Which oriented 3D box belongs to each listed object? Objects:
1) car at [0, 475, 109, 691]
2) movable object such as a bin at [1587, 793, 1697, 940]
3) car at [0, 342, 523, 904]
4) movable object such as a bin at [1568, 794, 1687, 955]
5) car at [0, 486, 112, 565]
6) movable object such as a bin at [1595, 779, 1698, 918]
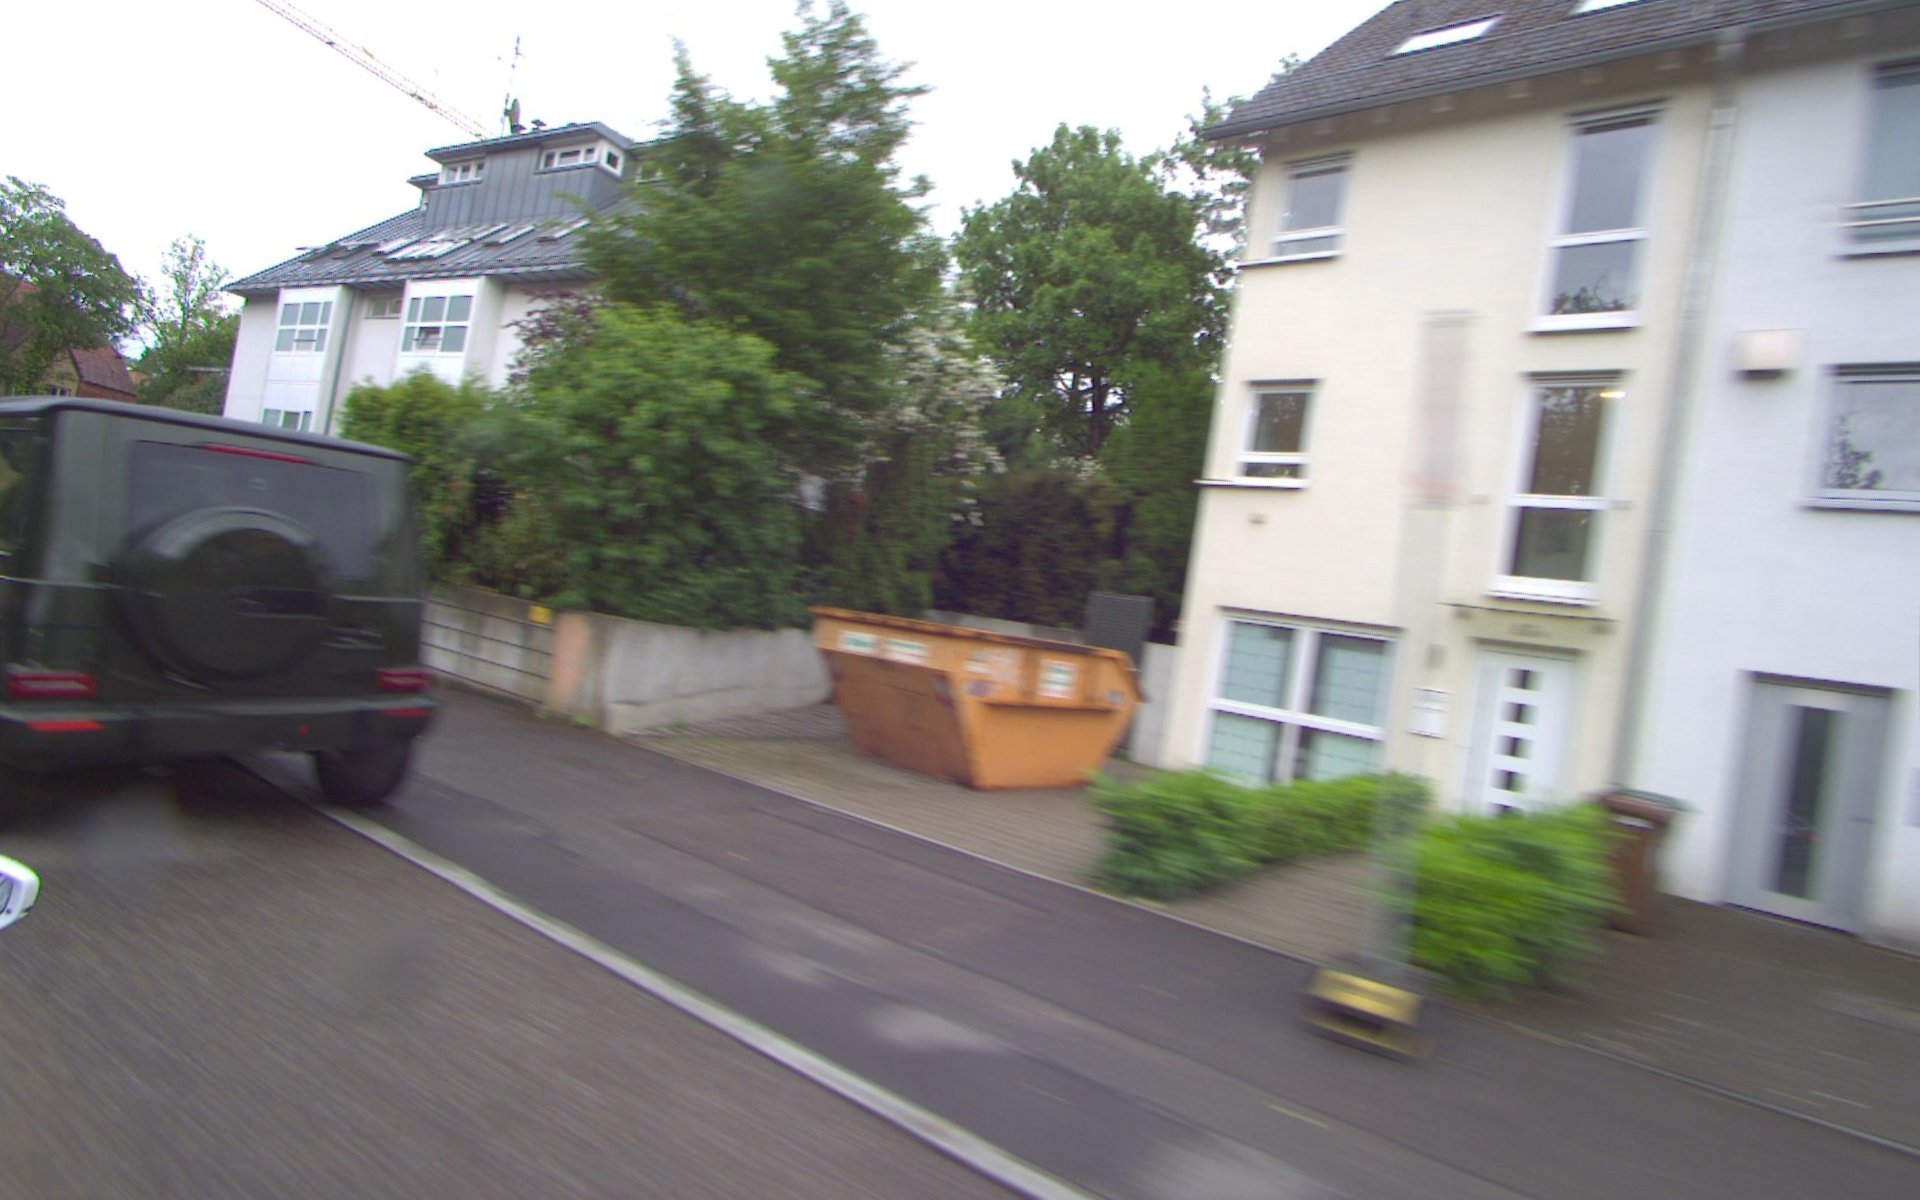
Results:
[{"bbox_3d":[-9.108,-0.334,8.538,4.329,1.615,1.931,6,0,38],"label":"car"},{"bbox_3d":[5.179,1.998,7.645,0.586,0.922,0.507,7,-1,36],"label":"movable object such as a bin"},{"bbox_3d":[-4.930,-0.051,5.803,4.878,2.038,1.995,7,0,35],"label":"car"},{"bbox_3d":[4.757,1.927,7.174,0.586,0.952,0.507,7,-1,36],"label":"movable object such as a bin"},{"bbox_3d":[-23.083,-1.906,25.154,3.936,1.487,1.700,7,-5,35],"label":"car"},{"bbox_3d":[5.643,2.018,8.278,0.586,0.966,0.507,7,-1,36],"label":"movable object such as a bin"}]
